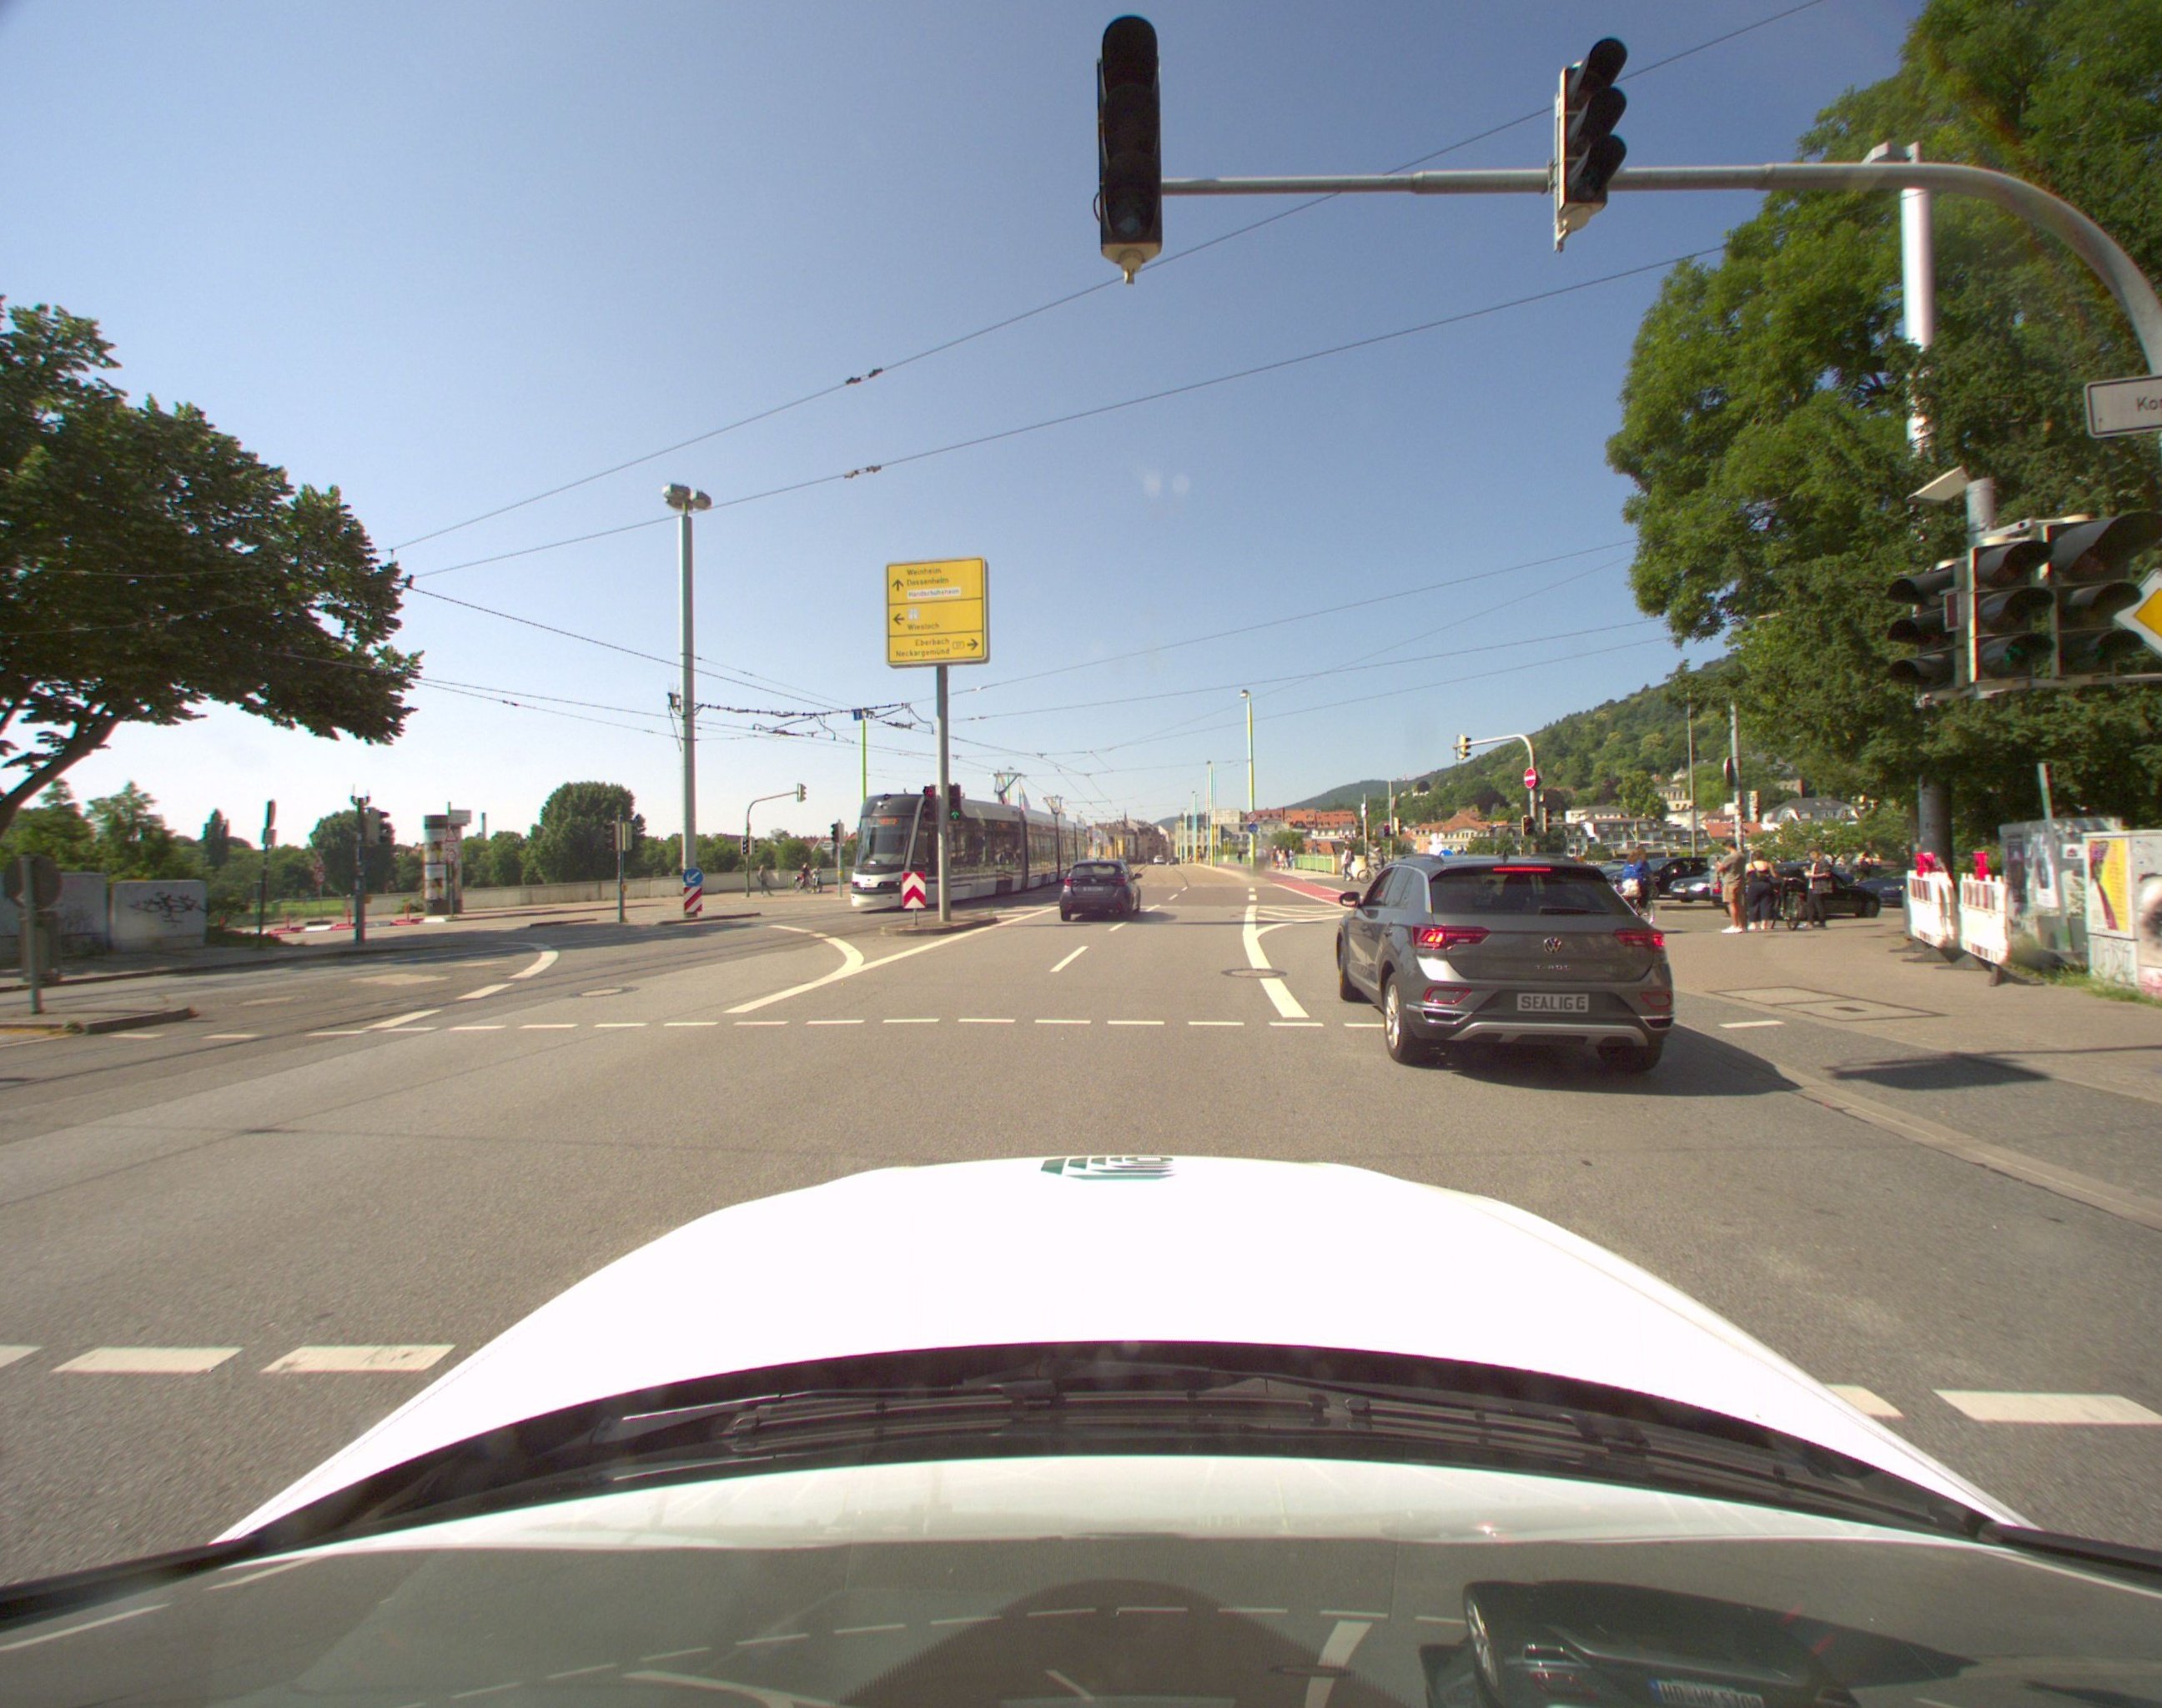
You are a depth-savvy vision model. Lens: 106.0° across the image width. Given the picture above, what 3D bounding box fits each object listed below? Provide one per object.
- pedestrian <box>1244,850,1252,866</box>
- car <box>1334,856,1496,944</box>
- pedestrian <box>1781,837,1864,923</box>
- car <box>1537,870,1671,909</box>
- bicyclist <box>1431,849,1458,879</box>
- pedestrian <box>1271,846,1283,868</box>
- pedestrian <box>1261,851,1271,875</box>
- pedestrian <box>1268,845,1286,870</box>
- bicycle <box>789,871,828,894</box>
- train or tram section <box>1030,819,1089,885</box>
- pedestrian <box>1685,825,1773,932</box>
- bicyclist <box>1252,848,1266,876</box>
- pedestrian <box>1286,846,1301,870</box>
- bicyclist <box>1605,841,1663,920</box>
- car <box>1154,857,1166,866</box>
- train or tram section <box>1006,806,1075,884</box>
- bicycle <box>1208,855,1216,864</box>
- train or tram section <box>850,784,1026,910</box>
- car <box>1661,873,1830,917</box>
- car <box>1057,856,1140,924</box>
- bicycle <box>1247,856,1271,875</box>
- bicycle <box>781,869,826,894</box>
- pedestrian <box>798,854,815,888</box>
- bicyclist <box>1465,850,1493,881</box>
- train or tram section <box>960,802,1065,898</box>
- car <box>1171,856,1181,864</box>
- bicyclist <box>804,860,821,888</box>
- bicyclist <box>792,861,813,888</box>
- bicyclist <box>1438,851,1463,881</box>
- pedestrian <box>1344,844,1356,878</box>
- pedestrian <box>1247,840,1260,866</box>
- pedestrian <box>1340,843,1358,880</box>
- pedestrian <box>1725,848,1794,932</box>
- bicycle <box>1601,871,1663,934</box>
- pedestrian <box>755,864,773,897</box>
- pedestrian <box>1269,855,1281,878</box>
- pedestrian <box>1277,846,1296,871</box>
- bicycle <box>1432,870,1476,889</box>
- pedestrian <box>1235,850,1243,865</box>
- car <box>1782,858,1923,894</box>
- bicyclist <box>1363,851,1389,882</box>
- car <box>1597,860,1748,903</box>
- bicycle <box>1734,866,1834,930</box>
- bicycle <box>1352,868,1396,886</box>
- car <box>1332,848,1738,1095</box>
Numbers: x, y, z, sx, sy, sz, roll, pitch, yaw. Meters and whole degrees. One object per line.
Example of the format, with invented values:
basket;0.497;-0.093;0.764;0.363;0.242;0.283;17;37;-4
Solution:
pedestrian;16.231;0.365;79.194;0.646;1.562;0.693;-2;0;5
car;6.451;0.801;16.281;1.982;1.490;4.294;0;0;8
pedestrian;15.771;0.569;17.329;1.056;1.782;0.699;0;-5;-9
car;21.522;1.453;33.599;4.465;1.395;1.844;-2;0;-6
bicyclist;18.482;0.509;41.418;1.073;1.474;0.931;0;0;11
pedestrian;14.880;0.227;61.922;0.693;1.716;0.731;-1;-1;-1
pedestrian;14.032;0.667;61.755;0.547;1.799;0.645;-1;-1;-1
pedestrian;13.743;0.258;57.196;0.982;1.750;0.929;-1;-1;-1
bicycle;-15.244;1.577;45.609;1.974;1.209;0.636;-2;-1;-17
train or tram section;-1.211;-0.151;52.878;2.458;3.777;11.865;-1;0;5
pedestrian;12.714;0.485;16.019;0.772;2.014;1.059;-2;-3;0
bicyclist;11.486;0.525;52.619;0.671;1.744;1.150;-1;-1;1
pedestrian;14.869;0.272;56.950;0.796;1.635;0.949;-1;-1;-1
bicyclist;11.355;0.523;16.717;1.066;1.553;0.768;-1;0;-44
car;13.219;1.264;136.194;1.797;1.469;4.002;-2;-1;2
train or tram section;-1.992;-0.453;44.063;2.392;3.681;9.632;-1;0;5
bicycle;17.791;0.804;110.801;0.692;1.194;2.079;-1;-2;1
train or tram section;-4.711;-0.212;29.353;2.518;3.777;9.206;-1;0;15
car;22.074;1.346;27.145;4.295;1.357;1.879;0;0;-5
car;0.524;0.837;20.983;1.902;1.540;4.004;-1;0;3
bicycle;11.476;0.741;52.642;0.789;1.096;3.745;-2;1;1
bicycle;-15.210;1.519;44.687;2.242;1.279;0.736;-2;-1;-17
pedestrian;-16.452;1.024;48.878;0.900;2.014;0.829;-2;-1;-17
bicyclist;19.865;0.566;40.641;1.072;1.474;0.931;0;0;13
train or tram section;-2.834;-0.178;37.024;2.522;3.777;9.192;-1;0;9
car;19.021;1.237;162.898;1.794;1.469;4.008;-2;-1;7
bicyclist;-15.052;1.112;45.671;0.826;1.493;0.871;-2;-1;-17
bicyclist;-15.269;1.120;44.700;1.005;1.449;0.811;-2;-1;-17
bicyclist;18.365;0.577;40.450;1.070;1.474;0.767;0;0;28
pedestrian;13.798;0.356;41.779;0.531;1.760;0.578;0;0;8
pedestrian;13.442;-0.080;63.396;0.800;2.014;0.954;-1;-1;-1
pedestrian;13.597;0.383;41.356;0.769;1.855;0.646;0;0;8
pedestrian;14.284;0.743;17.176;0.671;1.710;0.893;-2;-1;1
bicycle;11.282;0.946;16.637;2.262;1.164;0.609;0;-1;-45
pedestrian;-16.784;1.401;43.103;0.838;1.697;1.089;-1;-1;-25
pedestrian;14.187;0.907;59.559;0.652;1.650;0.868;-1;-1;1
pedestrian;14.900;0.359;59.094;0.982;1.769;1.254;-2;-1;-1
bicycle;18.499;1.267;40.398;1.920;0.853;0.569;1;0;28
pedestrian;18.438;0.421;94.868;0.653;1.743;0.978;-1;0;-2
car;31.764;0.889;33.600;4.468;1.448;1.843;0;0;-8
bicyclist;14.264;0.588;39.418;1.073;1.474;0.802;0;0;9
car;21.957;0.988;30.316;4.465;1.506;1.844;0;0;-6
bicycle;14.537;0.925;16.927;0.793;1.206;2.286;-4;-5;22
bicycle;14.156;1.086;39.431;1.927;0.827;0.567;1;0;9
car;3.449;0.737;7.142;1.917;1.516;4.004;-1;0;10
